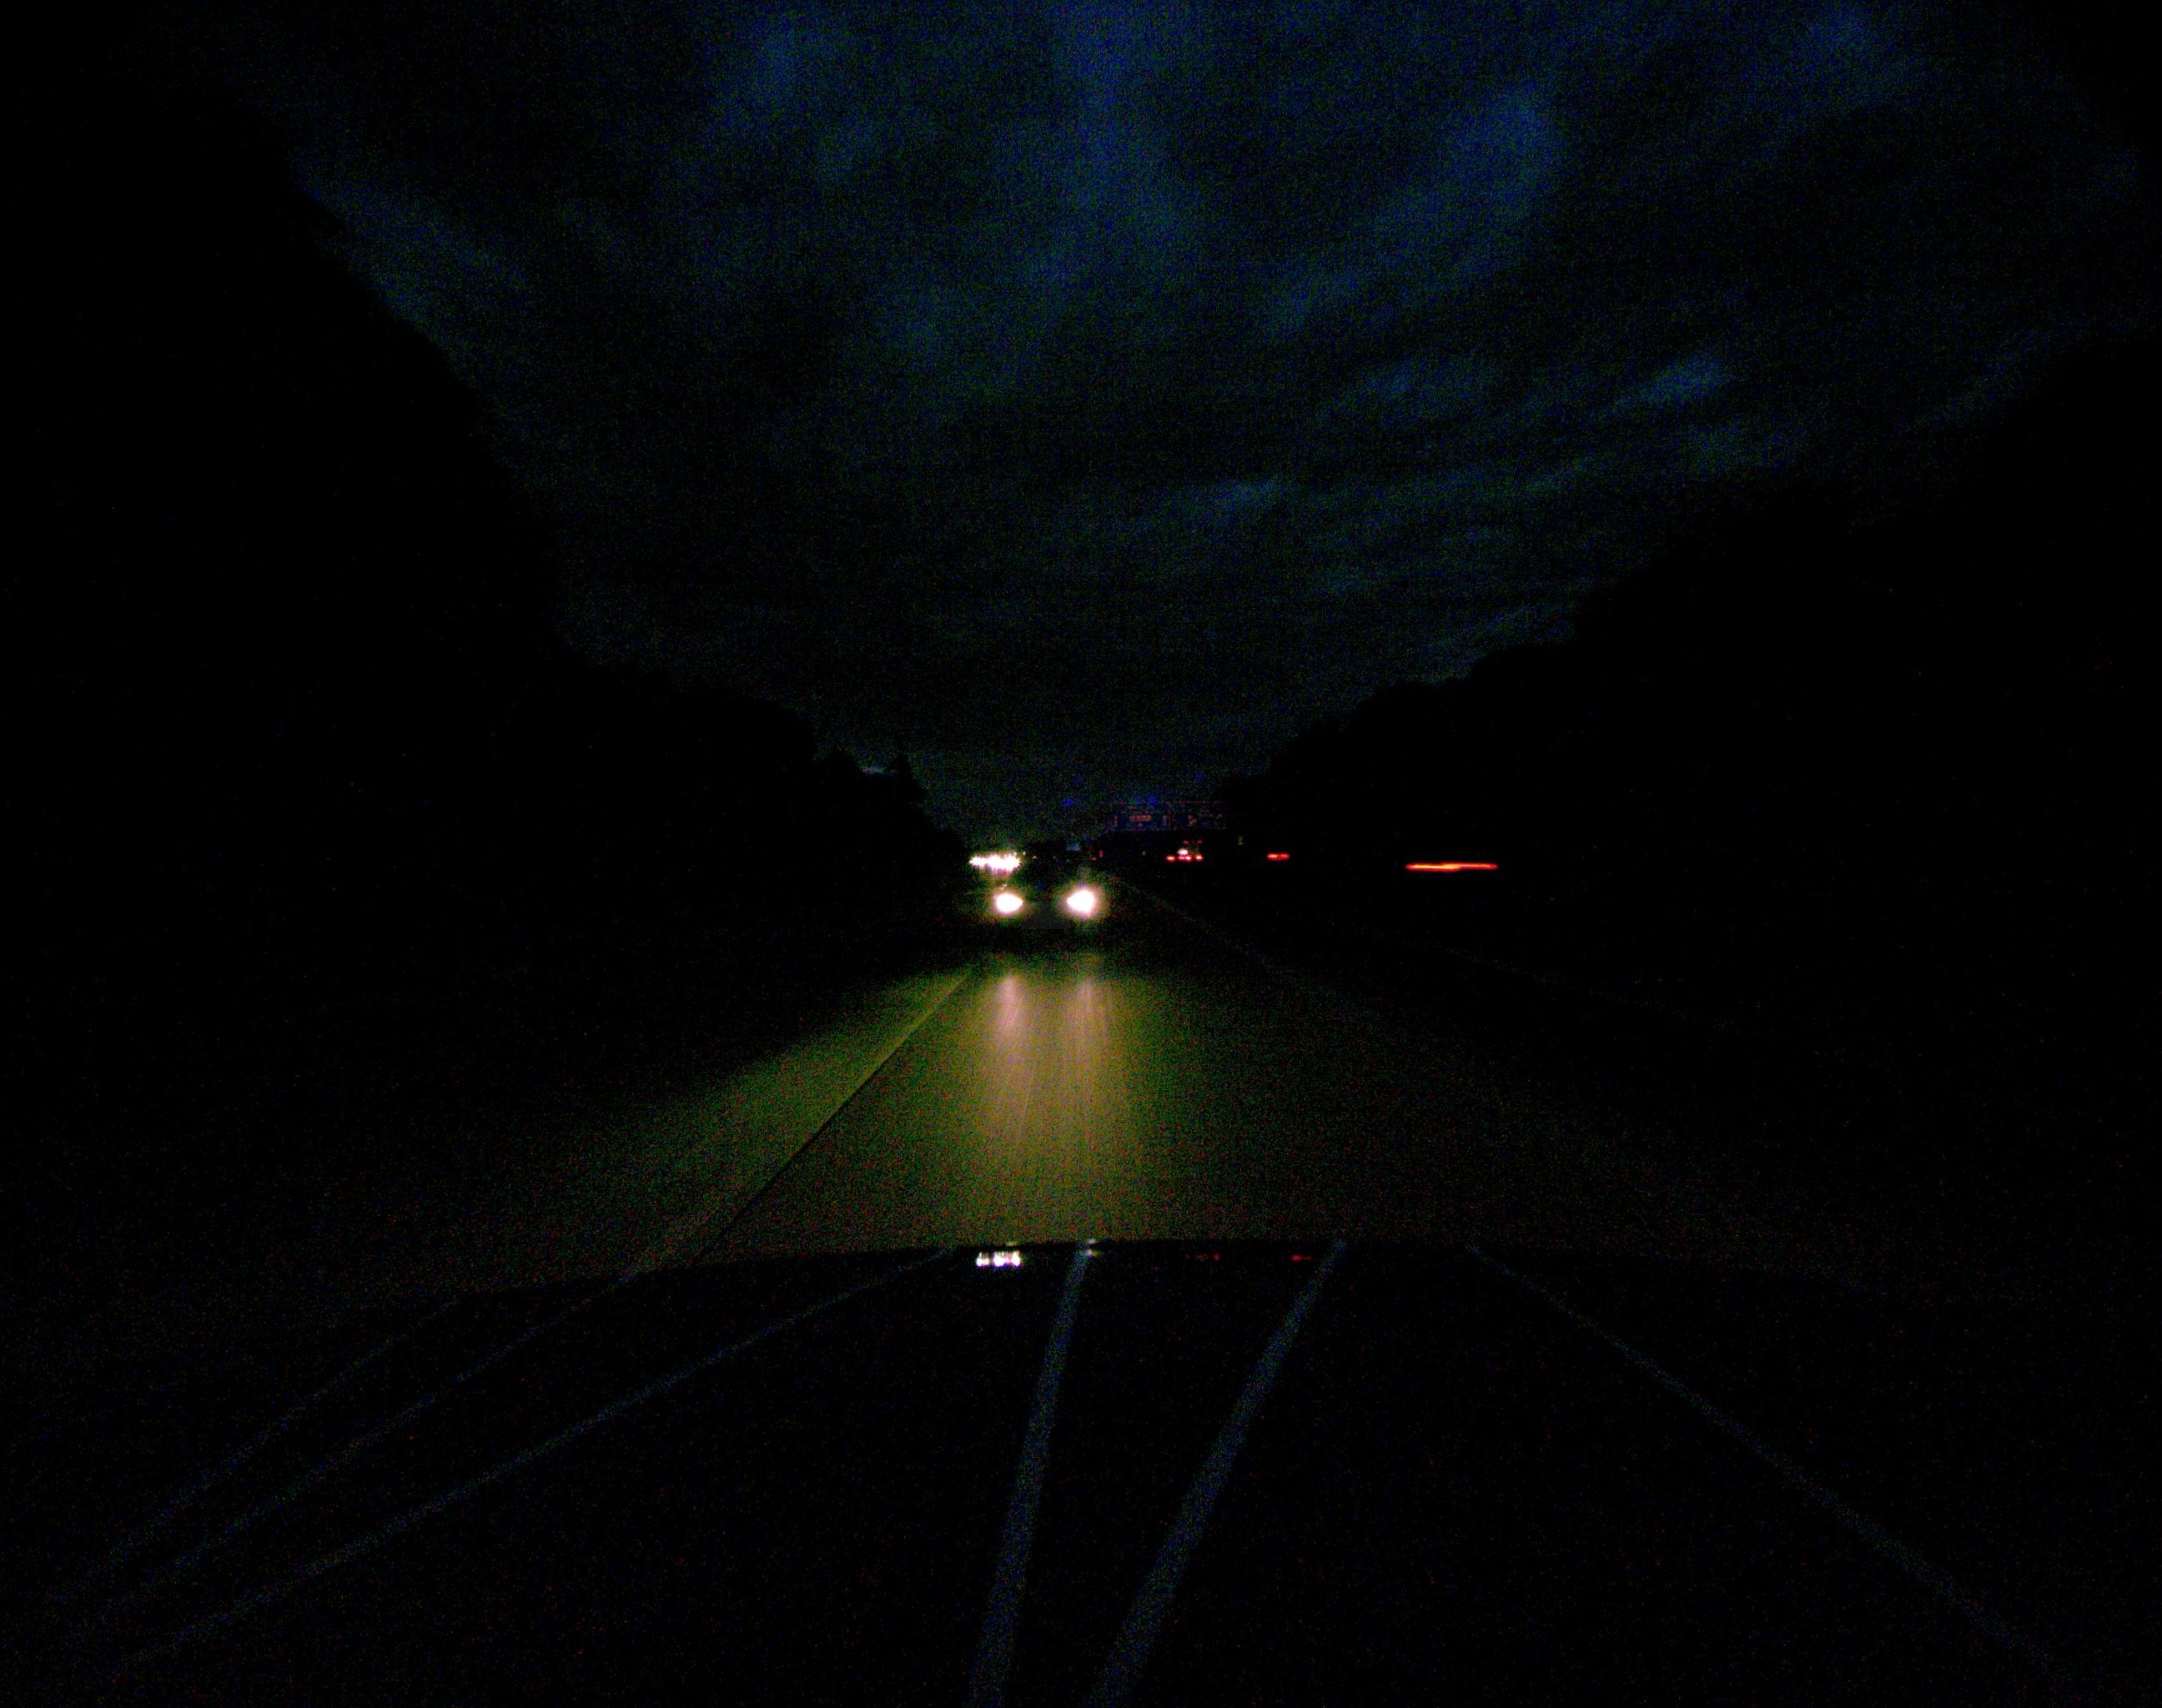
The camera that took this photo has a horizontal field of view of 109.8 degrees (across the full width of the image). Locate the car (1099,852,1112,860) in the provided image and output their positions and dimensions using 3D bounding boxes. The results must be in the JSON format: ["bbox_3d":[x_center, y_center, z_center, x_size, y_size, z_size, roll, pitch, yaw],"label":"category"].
[{"bbox_3d":[4.793,0.443,150.506,1.999,1.591,4.820,-2,0,-5],"label":"car"}]

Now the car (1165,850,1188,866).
[{"bbox_3d":[11.013,0.414,88.026,1.999,1.695,4.550,-2,0,-1],"label":"car"}]

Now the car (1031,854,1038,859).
[{"bbox_3d":[-14.422,0.732,233.734,1.819,1.372,4.198,-2,0,0],"label":"car"}]

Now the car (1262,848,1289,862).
[{"bbox_3d":[22.362,0.104,87.605,1.855,1.488,4.594,-2,0,-1],"label":"car"}]

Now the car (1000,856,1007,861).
[{"bbox_3d":[-24.622,1.535,241.979,1.999,1.539,3.998,-2,0,-5],"label":"car"}]

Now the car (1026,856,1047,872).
[{"bbox_3d":[-4.437,0.960,75.739,1.999,1.539,3.998,-2,0,-4],"label":"car"}]

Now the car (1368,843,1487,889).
[{"bbox_3d":[11.677,0.360,26.019,1.819,1.372,4.907,-2,0,0],"label":"car"}]

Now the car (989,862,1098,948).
[{"bbox_3d":[-0.715,0.924,15.718,1.880,1.435,4.450,-2,0,-1],"label":"car"}]

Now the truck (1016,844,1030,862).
[{"bbox_3d":[-13.888,-0.235,182.534,3.146,3.987,10.540,-2,0,-4],"label":"truck"}]

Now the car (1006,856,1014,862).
[{"bbox_3d":[-19.282,1.342,205.729,1.819,1.372,4.043,-2,0,0],"label":"car"}]

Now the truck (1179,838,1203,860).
[{"bbox_3d":[20.564,-0.938,142.667,2.652,3.987,10.542,-2,0,-2],"label":"truck"}]
